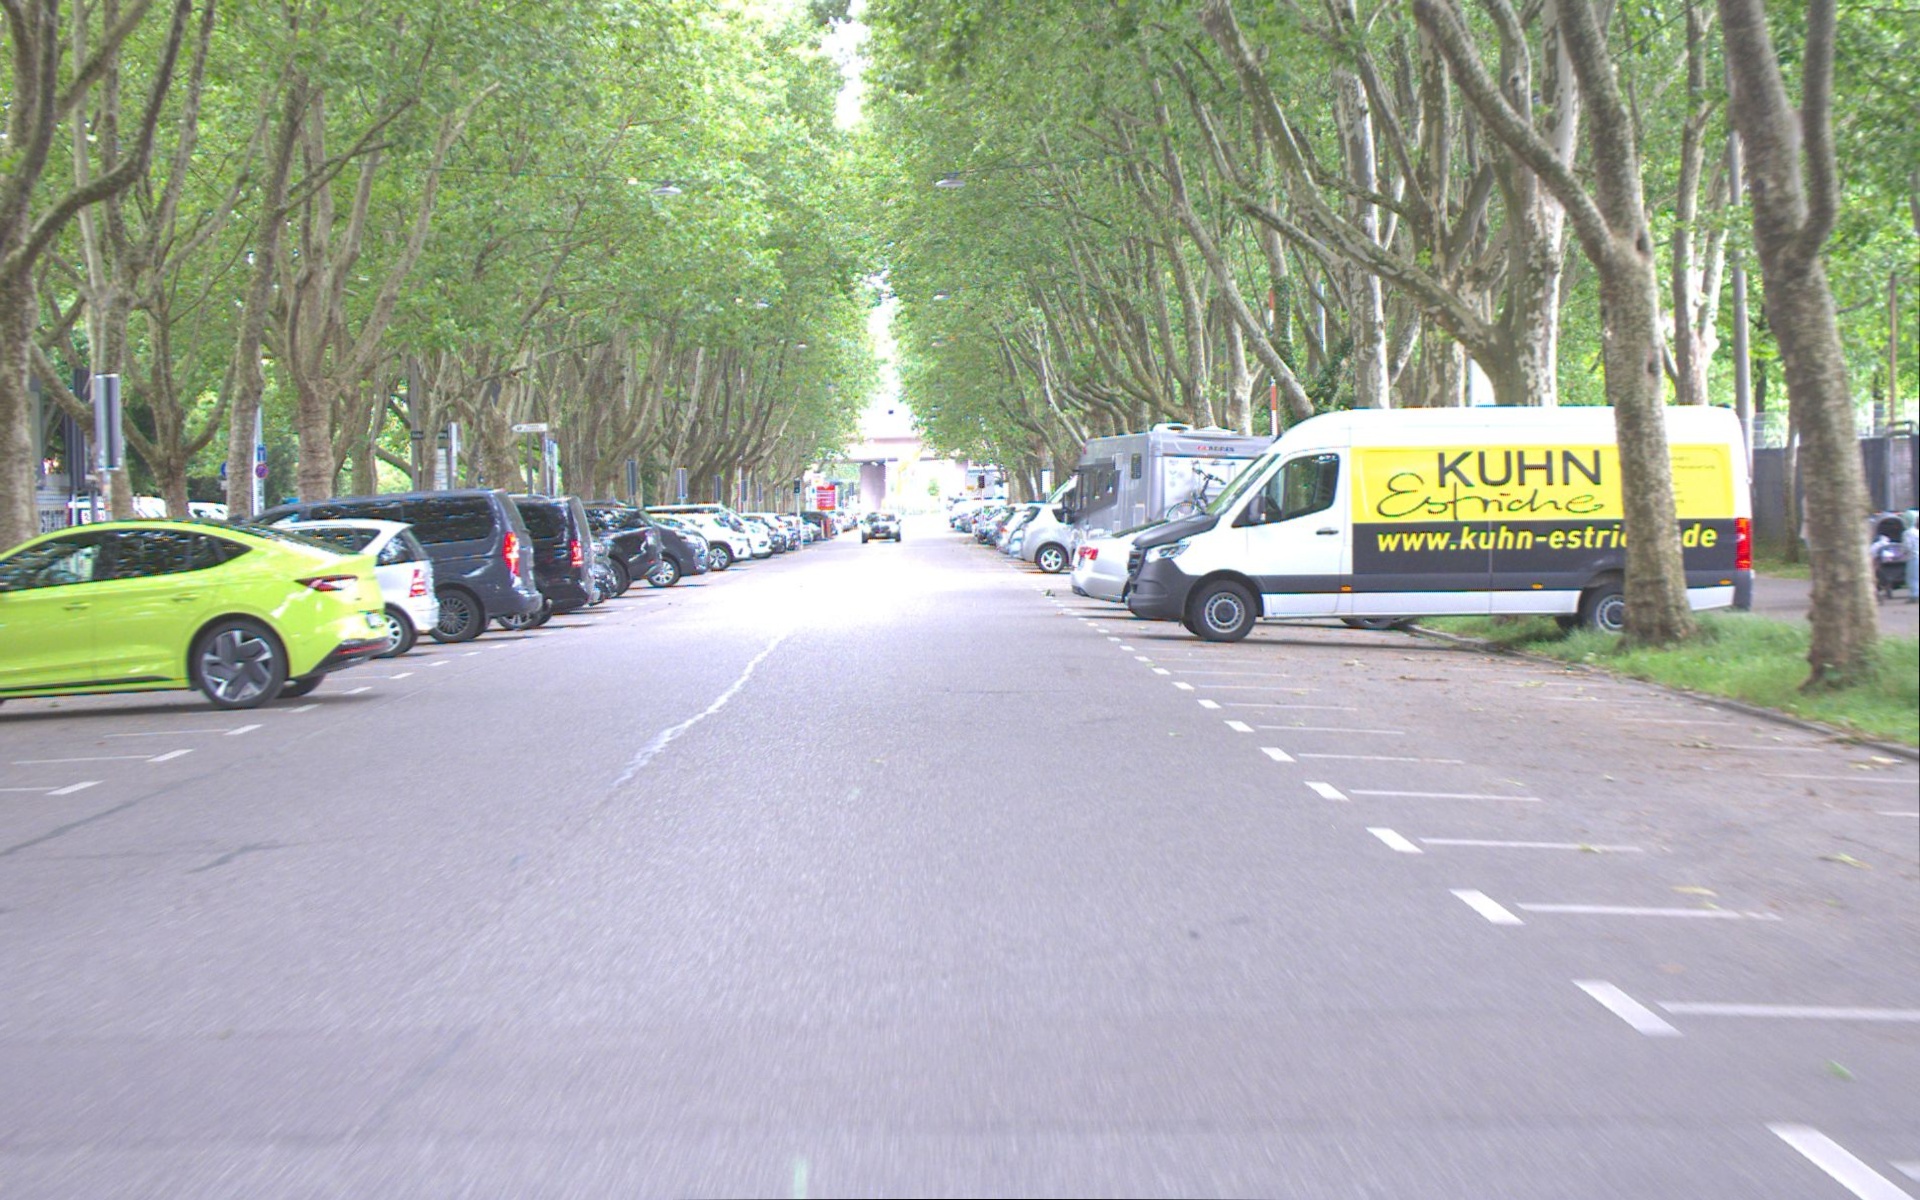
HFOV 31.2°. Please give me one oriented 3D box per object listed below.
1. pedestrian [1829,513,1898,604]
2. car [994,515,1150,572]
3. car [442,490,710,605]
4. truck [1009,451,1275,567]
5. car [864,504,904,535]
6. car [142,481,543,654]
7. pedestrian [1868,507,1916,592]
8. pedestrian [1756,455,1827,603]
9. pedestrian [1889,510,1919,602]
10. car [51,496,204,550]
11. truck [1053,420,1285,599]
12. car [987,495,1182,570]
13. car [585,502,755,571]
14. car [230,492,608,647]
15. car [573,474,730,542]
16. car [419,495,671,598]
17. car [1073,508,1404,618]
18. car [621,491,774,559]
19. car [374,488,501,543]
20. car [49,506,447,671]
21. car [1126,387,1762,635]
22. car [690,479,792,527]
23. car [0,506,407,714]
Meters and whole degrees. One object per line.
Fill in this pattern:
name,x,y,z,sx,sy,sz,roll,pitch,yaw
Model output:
pedestrian,10.605,-0.497,40.373,0.639,1.056,0.676,0,1,1
car,2.997,-1.519,92.431,4.119,1.424,1.703,2,1,1
car,-8.124,-1.136,73.110,5.435,2.120,1.940,-3,2,-2
truck,4.346,-2.174,82.400,6.294,2.705,2.098,0,1,2
car,-3.626,-3.815,163.529,1.654,1.359,4.113,-4,2,-4
car,-7.758,-0.430,43.606,4.761,1.917,2.018,-3,2,-5
pedestrian,11.406,-0.619,42.061,0.417,1.031,0.396,-1,2,-40
pedestrian,10.007,-0.859,41.386,0.639,1.735,0.621,-3,2,3
pedestrian,11.328,-0.526,40.483,0.592,1.045,0.588,-3,2,3
car,-35.266,-3.263,145.764,6.001,2.245,2.000,0,1,-1
truck,3.523,-1.574,59.920,2.458,2.927,7.540,0,1,-9
car,2.809,-1.519,77.524,4.340,1.612,1.803,1,1,2
car,-7.749,-1.699,92.111,4.379,1.591,2.000,-3,1,-2
car,-7.580,-0.455,48.578,4.905,1.917,2.208,-3,2,0
car,-8.926,-2.679,99.854,4.340,1.662,2.000,-4,1,-2
car,-7.984,-1.020,66.002,4.652,1.814,1.806,-2,0,-10
car,3.720,-0.510,46.227,4.359,1.440,1.612,0,1,3
car,-8.755,-2.509,114.957,4.893,2.012,1.920,-3,1,-1
car,-25.192,-4.072,165.772,5.786,2.588,2.000,0,1,0
car,-7.915,-0.153,38.520,4.104,1.563,1.758,-4,2,-5
car,5.350,-0.998,38.712,6.881,2.686,2.127,0,1,1
car,-8.411,-3.722,132.189,3.826,1.622,1.953,-3,1,-3
car,-7.064,0.075,28.787,4.516,1.612,1.758,-1,1,2
